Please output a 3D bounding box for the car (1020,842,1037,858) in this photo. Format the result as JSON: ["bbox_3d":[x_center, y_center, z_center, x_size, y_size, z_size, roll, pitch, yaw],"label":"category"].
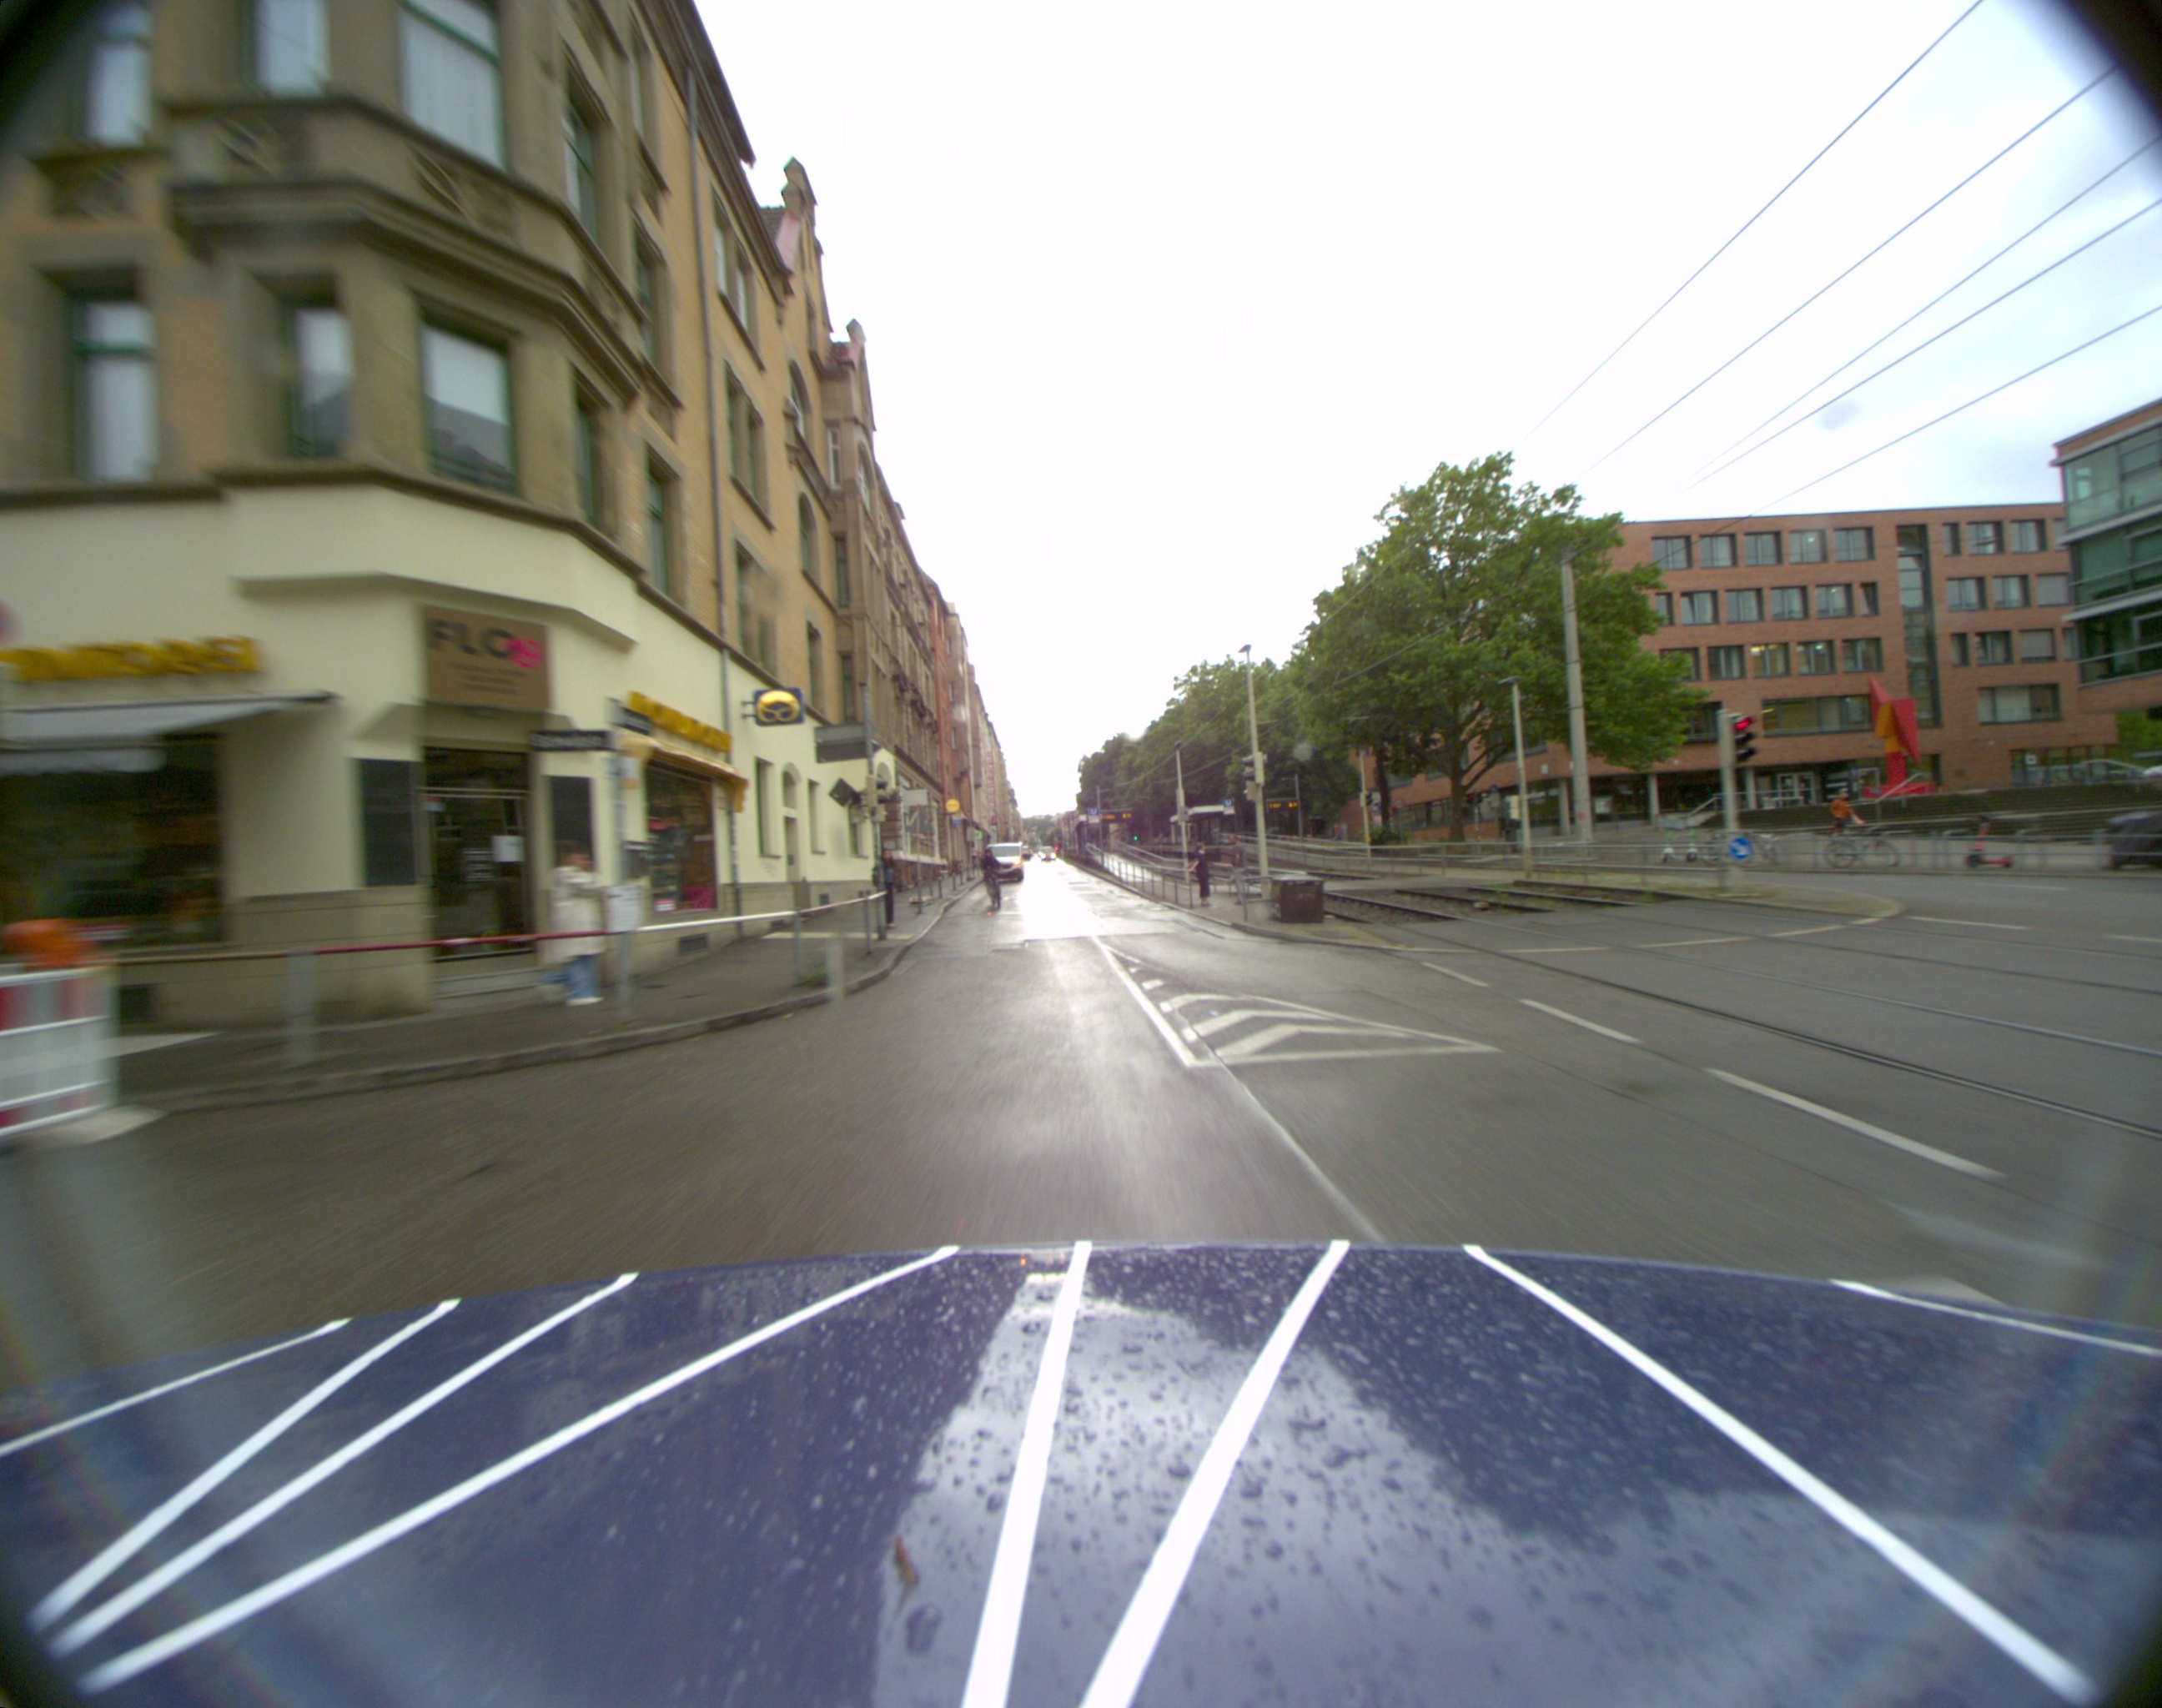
[{"bbox_3d":[-6.786,-0.526,97.221,1.885,1.838,3.997,-3,1,-7],"label":"car"}]

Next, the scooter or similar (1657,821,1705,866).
[{"bbox_3d":[19.431,-0.340,24.614,1.508,1.363,0.452,-4,2,-20],"label":"scooter or similar"}]

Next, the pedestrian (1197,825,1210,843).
[{"bbox_3d":[10.203,-1.650,63.282,0.782,1.475,0.883,-3,2,-7],"label":"pedestrian"}]

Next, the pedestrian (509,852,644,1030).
[{"bbox_3d":[-5.311,0.858,7.999,0.994,1.695,0.782,-2,3,38],"label":"pedestrian"}]

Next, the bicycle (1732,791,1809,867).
[{"bbox_3d":[19.546,-0.713,21.542,1.896,2.002,0.518,-4,2,-10],"label":"bicycle"}]

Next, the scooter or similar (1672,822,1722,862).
[{"bbox_3d":[19.407,-0.384,23.933,1.720,1.187,0.478,-3,2,-24],"label":"scooter or similar"}]

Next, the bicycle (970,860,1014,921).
[{"bbox_3d":[-2.529,1.007,22.081,0.937,1.546,3.134,-3,1,-2],"label":"bicycle"}]

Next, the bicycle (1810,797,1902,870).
[{"bbox_3d":[19.924,-0.537,19.533,2.097,1.689,0.556,-5,3,-10],"label":"bicycle"}]

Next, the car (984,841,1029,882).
[{"bbox_3d":[-3.885,0.296,40.559,1.825,1.894,5.988,-4,1,-2],"label":"car"}]

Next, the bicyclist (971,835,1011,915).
[{"bbox_3d":[-2.616,0.592,22.232,0.921,2.250,1.287,-3,2,-2],"label":"bicyclist"}]

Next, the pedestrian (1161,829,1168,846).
[{"bbox_3d":[9.230,-1.811,84.205,0.677,1.780,0.703,-2,2,-3],"label":"pedestrian"}]

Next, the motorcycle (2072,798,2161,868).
[{"bbox_3d":[22.340,-0.464,15.870,2.659,1.363,0.865,-3,2,-10],"label":"motorcycle"}]

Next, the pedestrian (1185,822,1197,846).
[{"bbox_3d":[9.856,-1.805,68.146,0.837,2.051,0.883,-3,2,-7],"label":"pedestrian"}]

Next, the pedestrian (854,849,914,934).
[{"bbox_3d":[-4.094,0.757,15.859,1.019,1.711,0.930,0,2,-2],"label":"pedestrian"}]

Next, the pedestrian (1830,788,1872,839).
[{"bbox_3d":[27.784,-1.478,27.440,0.791,1.736,1.070,-2,6,30],"label":"pedestrian"}]

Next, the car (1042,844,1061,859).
[{"bbox_3d":[-3.274,-0.299,83.079,1.884,1.439,3.997,-3,1,-4],"label":"car"}]

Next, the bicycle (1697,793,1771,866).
[{"bbox_3d":[19.355,-0.724,22.522,1.896,2.002,0.518,-4,2,-10],"label":"bicycle"}]

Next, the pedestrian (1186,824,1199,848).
[{"bbox_3d":[9.824,-1.592,66.846,0.837,2.051,0.883,-3,2,-7],"label":"pedestrian"}]

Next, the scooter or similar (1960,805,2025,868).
[{"bbox_3d":[21.109,-0.417,17.594,1.508,1.363,0.452,-4,2,-20],"label":"scooter or similar"}]

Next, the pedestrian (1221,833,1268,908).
[{"bbox_3d":[4.052,0.397,18.917,0.828,1.788,1.001,-3,2,-5],"label":"pedestrian"}]

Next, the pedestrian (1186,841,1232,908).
[{"bbox_3d":[3.191,0.493,18.976,0.837,1.595,1.001,-3,2,-5],"label":"pedestrian"}]
